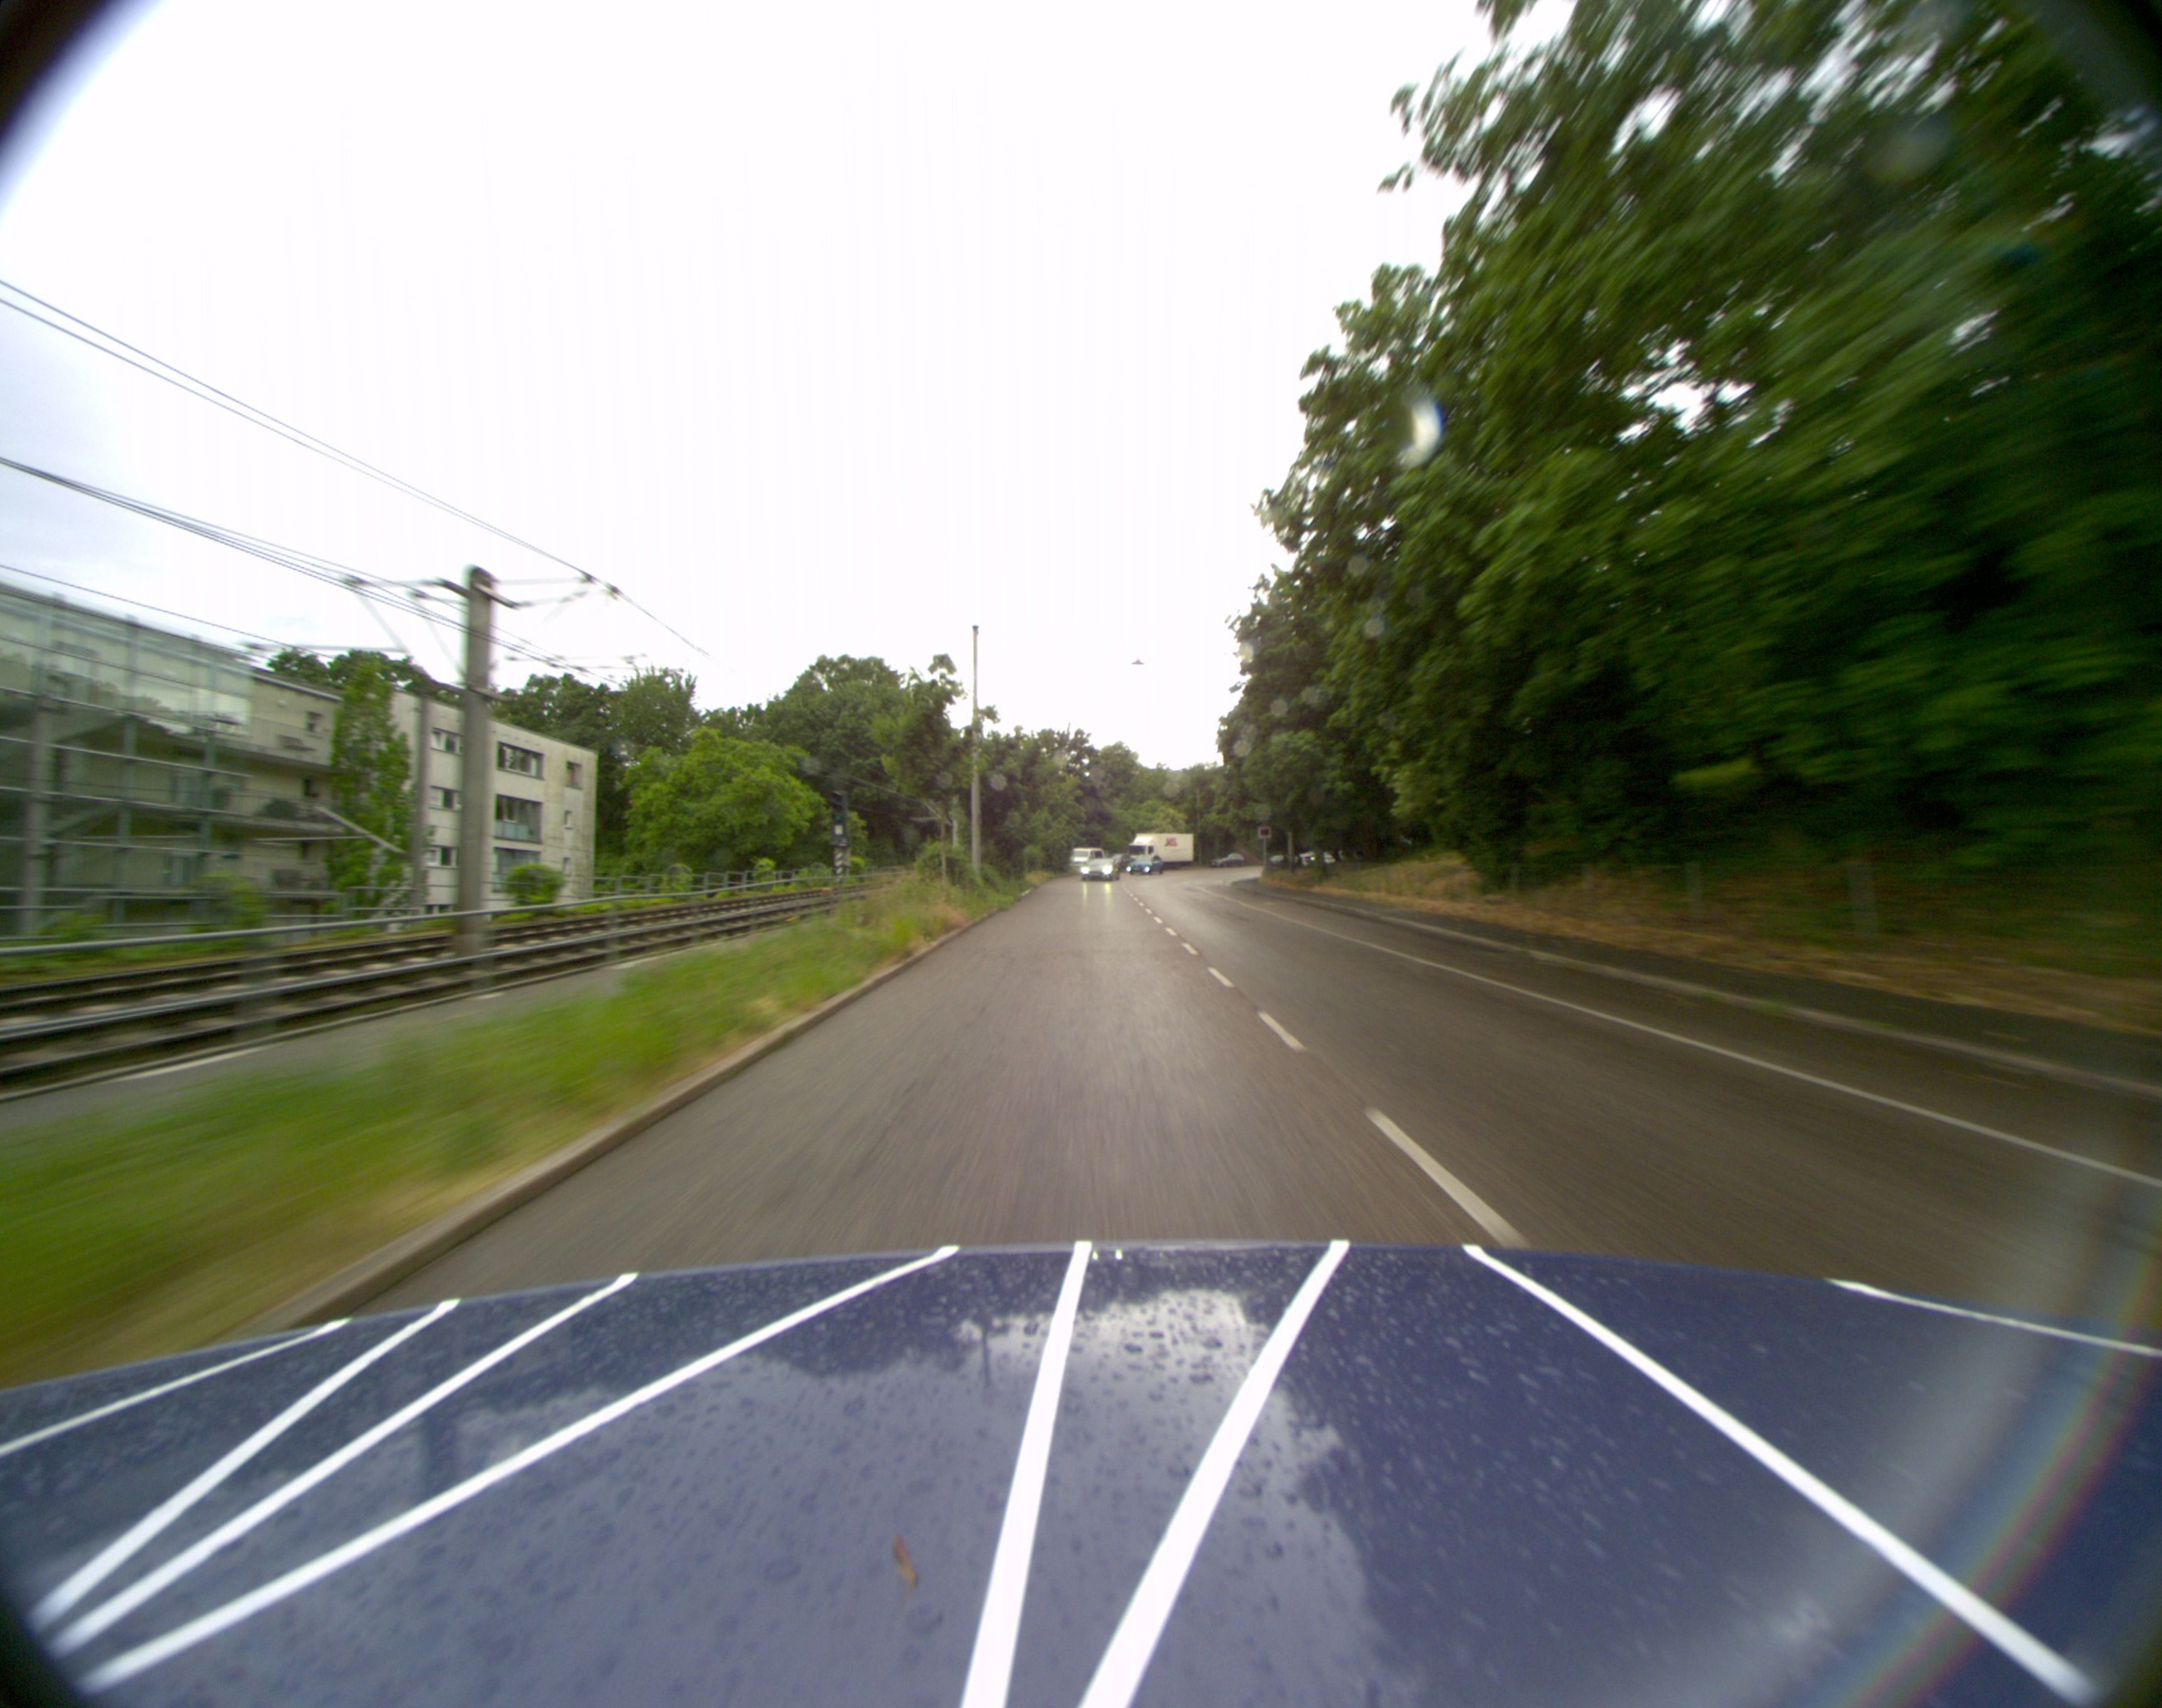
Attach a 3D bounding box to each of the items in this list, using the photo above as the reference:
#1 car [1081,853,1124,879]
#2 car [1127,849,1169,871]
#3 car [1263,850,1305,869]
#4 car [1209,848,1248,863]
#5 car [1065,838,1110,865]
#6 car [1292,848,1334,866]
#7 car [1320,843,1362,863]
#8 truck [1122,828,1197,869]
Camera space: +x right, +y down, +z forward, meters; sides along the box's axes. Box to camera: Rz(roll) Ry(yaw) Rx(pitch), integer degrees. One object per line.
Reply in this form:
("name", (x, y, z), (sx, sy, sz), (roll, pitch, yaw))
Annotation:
("car", (1.437, 0.724, 48.721), (1.897, 1.530, 4.504), (-1, 0, 13))
("car", (5.483, 0.482, 61.647), (1.995, 1.660, 4.537), (-1, 0, 23))
("car", (17.171, 0.423, 64.178), (1.774, 1.435, 4.023), (0, 2, 41))
("car", (15.700, 0.180, 80.650), (4.132, 1.436, 1.721), (-2, 1, -39))
("car", (0.553, -0.221, 60.271), (1.878, 2.002, 4.698), (1, 2, 23))
("car", (20.828, 0.263, 68.180), (4.054, 1.448, 1.752), (-3, 2, -41))
("car", (24.499, -0.093, 71.537), (4.031, 1.574, 1.804), (-4, 3, -39))
("truck", (7.628, -0.592, 72.435), (3.008, 3.553, 8.352), (-1, 1, 39))
